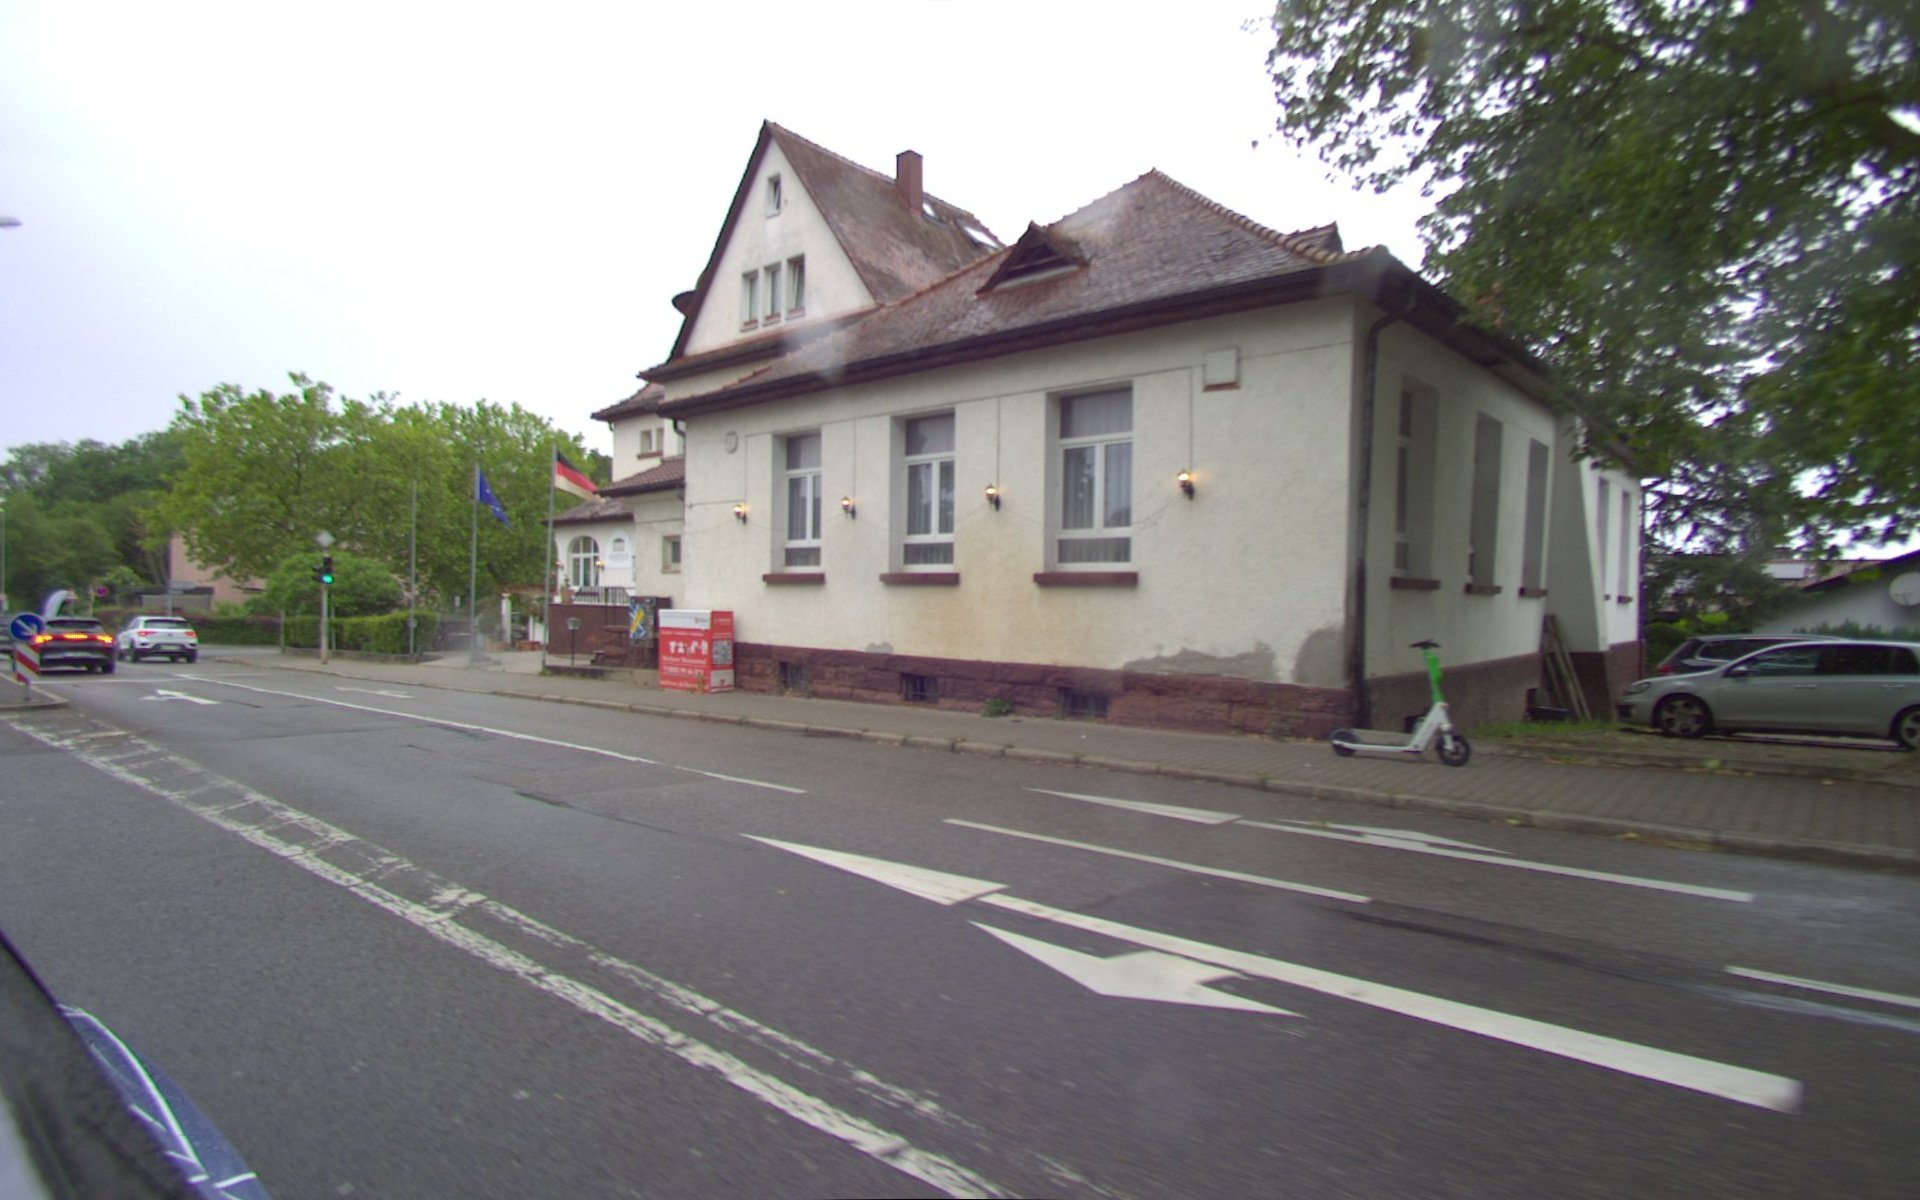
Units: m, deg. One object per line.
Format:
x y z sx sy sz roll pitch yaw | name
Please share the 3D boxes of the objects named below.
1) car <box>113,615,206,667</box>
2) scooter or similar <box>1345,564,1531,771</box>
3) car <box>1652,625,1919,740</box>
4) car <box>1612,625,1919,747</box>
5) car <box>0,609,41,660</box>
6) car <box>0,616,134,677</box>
-27.822 1.458 35.141 4.001 1.697 1.971 -3 -5 44 | car
4.403 0.579 9.381 1.511 1.788 0.397 0 0 38 | scooter or similar
13.926 1.275 16.431 4.255 1.698 1.973 -1 -3 41 | car
11.688 1.167 13.994 4.283 1.452 1.733 0 -4 41 | car
-33.292 1.184 34.287 4.286 1.674 1.979 -1 -2 30 | car
-23.079 1.159 25.996 4.382 1.440 1.974 -1 -2 38 | car
